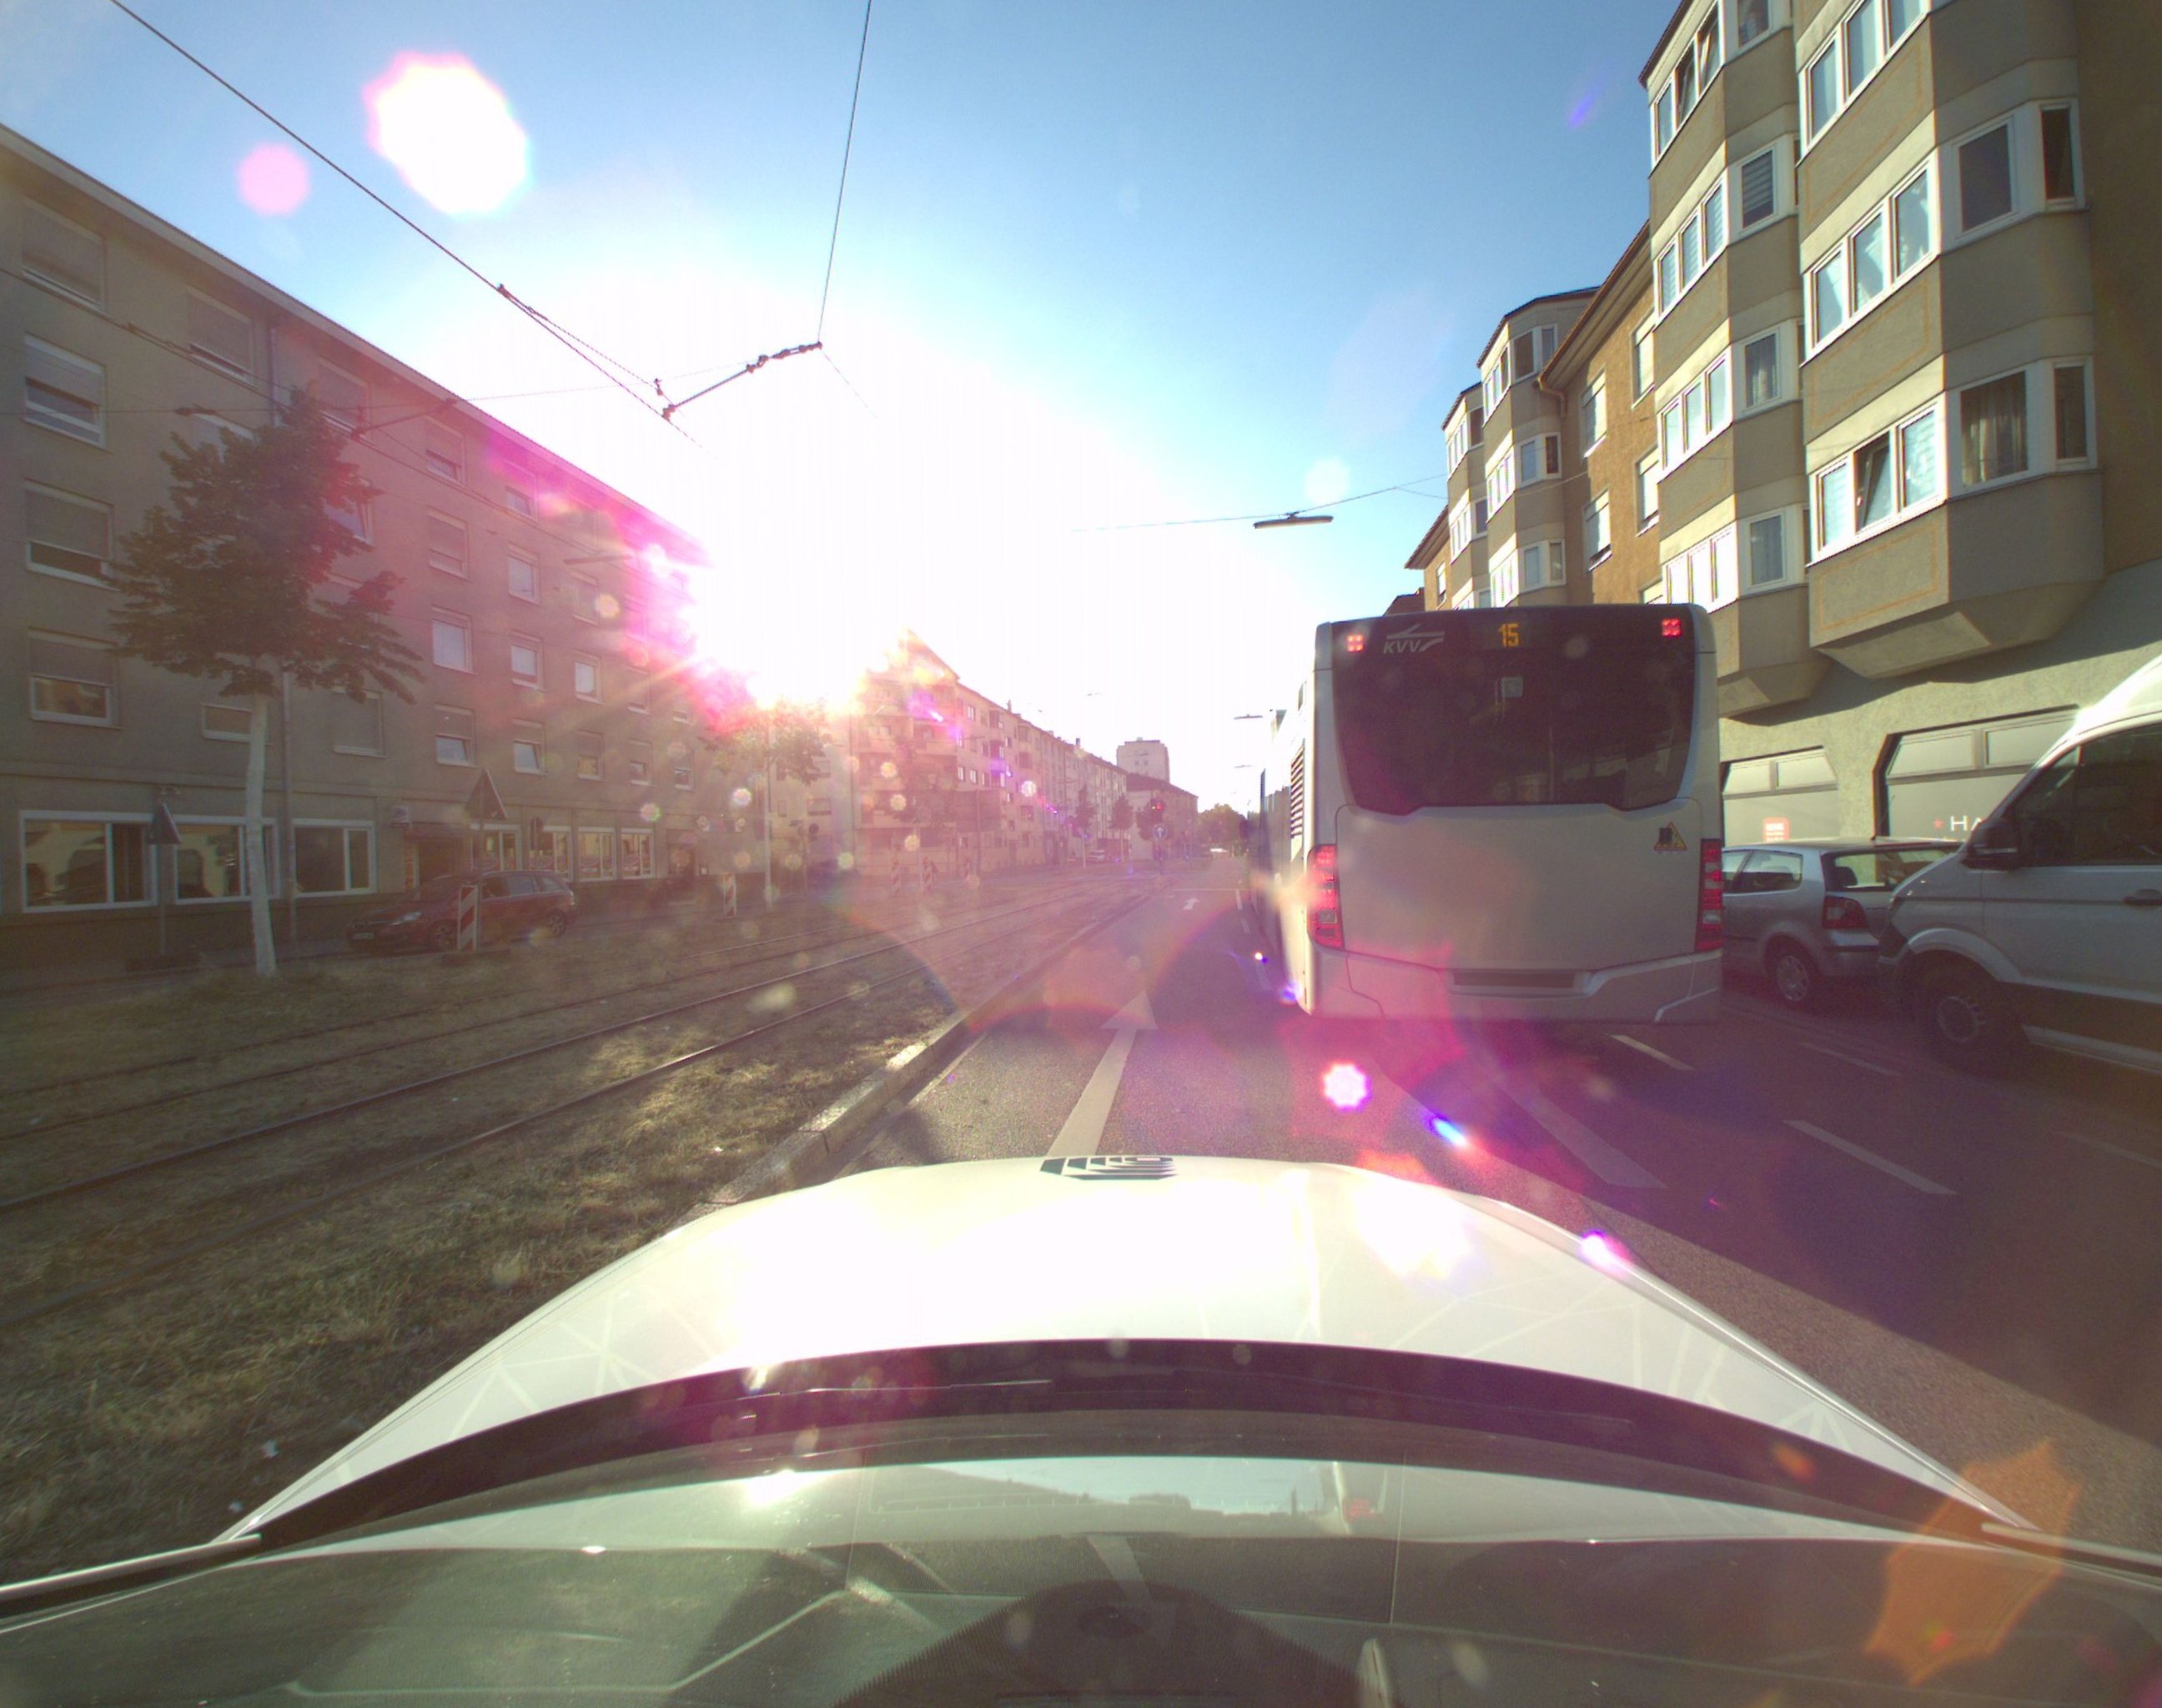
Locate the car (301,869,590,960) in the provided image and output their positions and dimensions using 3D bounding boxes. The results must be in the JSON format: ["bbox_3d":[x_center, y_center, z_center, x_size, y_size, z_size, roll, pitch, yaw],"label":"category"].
[{"bbox_3d":[-13.395,1.179,17.683,1.800,1.560,4.948,-3,-1,10],"label":"car"}]

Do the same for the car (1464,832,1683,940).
[{"bbox_3d":[8.233,0.470,14.115,1.827,1.536,4.242,-2,0,10],"label":"car"}]

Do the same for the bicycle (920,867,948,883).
[{"bbox_3d":[-9.972,1.431,55.234,0.522,0.984,1.895,-3,0,40],"label":"bicycle"}]

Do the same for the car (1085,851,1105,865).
[{"bbox_3d":[1.957,0.478,110.679,1.800,1.797,4.259,-2,0,12],"label":"car"}]

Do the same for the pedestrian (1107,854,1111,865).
[{"bbox_3d":[4.289,0.821,125.313,0.492,1.658,0.410,-2,0,10],"label":"pedestrian"}]

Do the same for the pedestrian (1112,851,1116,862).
[{"bbox_3d":[5.066,0.426,125.658,0.492,1.658,0.410,-2,0,10],"label":"pedestrian"}]

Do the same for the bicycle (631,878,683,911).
[{"bbox_3d":[-15.831,1.496,30.428,0.742,1.115,1.783,-2,0,10],"label":"bicycle"}]

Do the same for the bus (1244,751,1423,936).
[{"bbox_3d":[5.117,-0.184,18.186,2.721,3.056,9.157,-1,0,10],"label":"bus"}]

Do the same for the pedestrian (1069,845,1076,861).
[{"bbox_3d":[-1.075,-0.085,105.715,0.782,2.013,0.892,-2,0,7],"label":"pedestrian"}]

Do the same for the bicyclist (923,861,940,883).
[{"bbox_3d":[-10.111,1.227,55.095,0.522,1.447,0.971,-3,0,41],"label":"bicyclist"}]

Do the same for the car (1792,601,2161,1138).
[{"bbox_3d":[5.987,0.015,3.139,2.004,2.551,5.801,-6,-1,10],"label":"car"}]

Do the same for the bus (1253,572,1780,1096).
[{"bbox_3d":[3.510,-0.128,9.339,2.721,3.056,8.879,-1,0,10],"label":"bus"}]

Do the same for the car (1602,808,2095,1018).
[{"bbox_3d":[7.157,0.471,8.244,1.827,1.588,3.796,-2,0,10],"label":"car"}]
